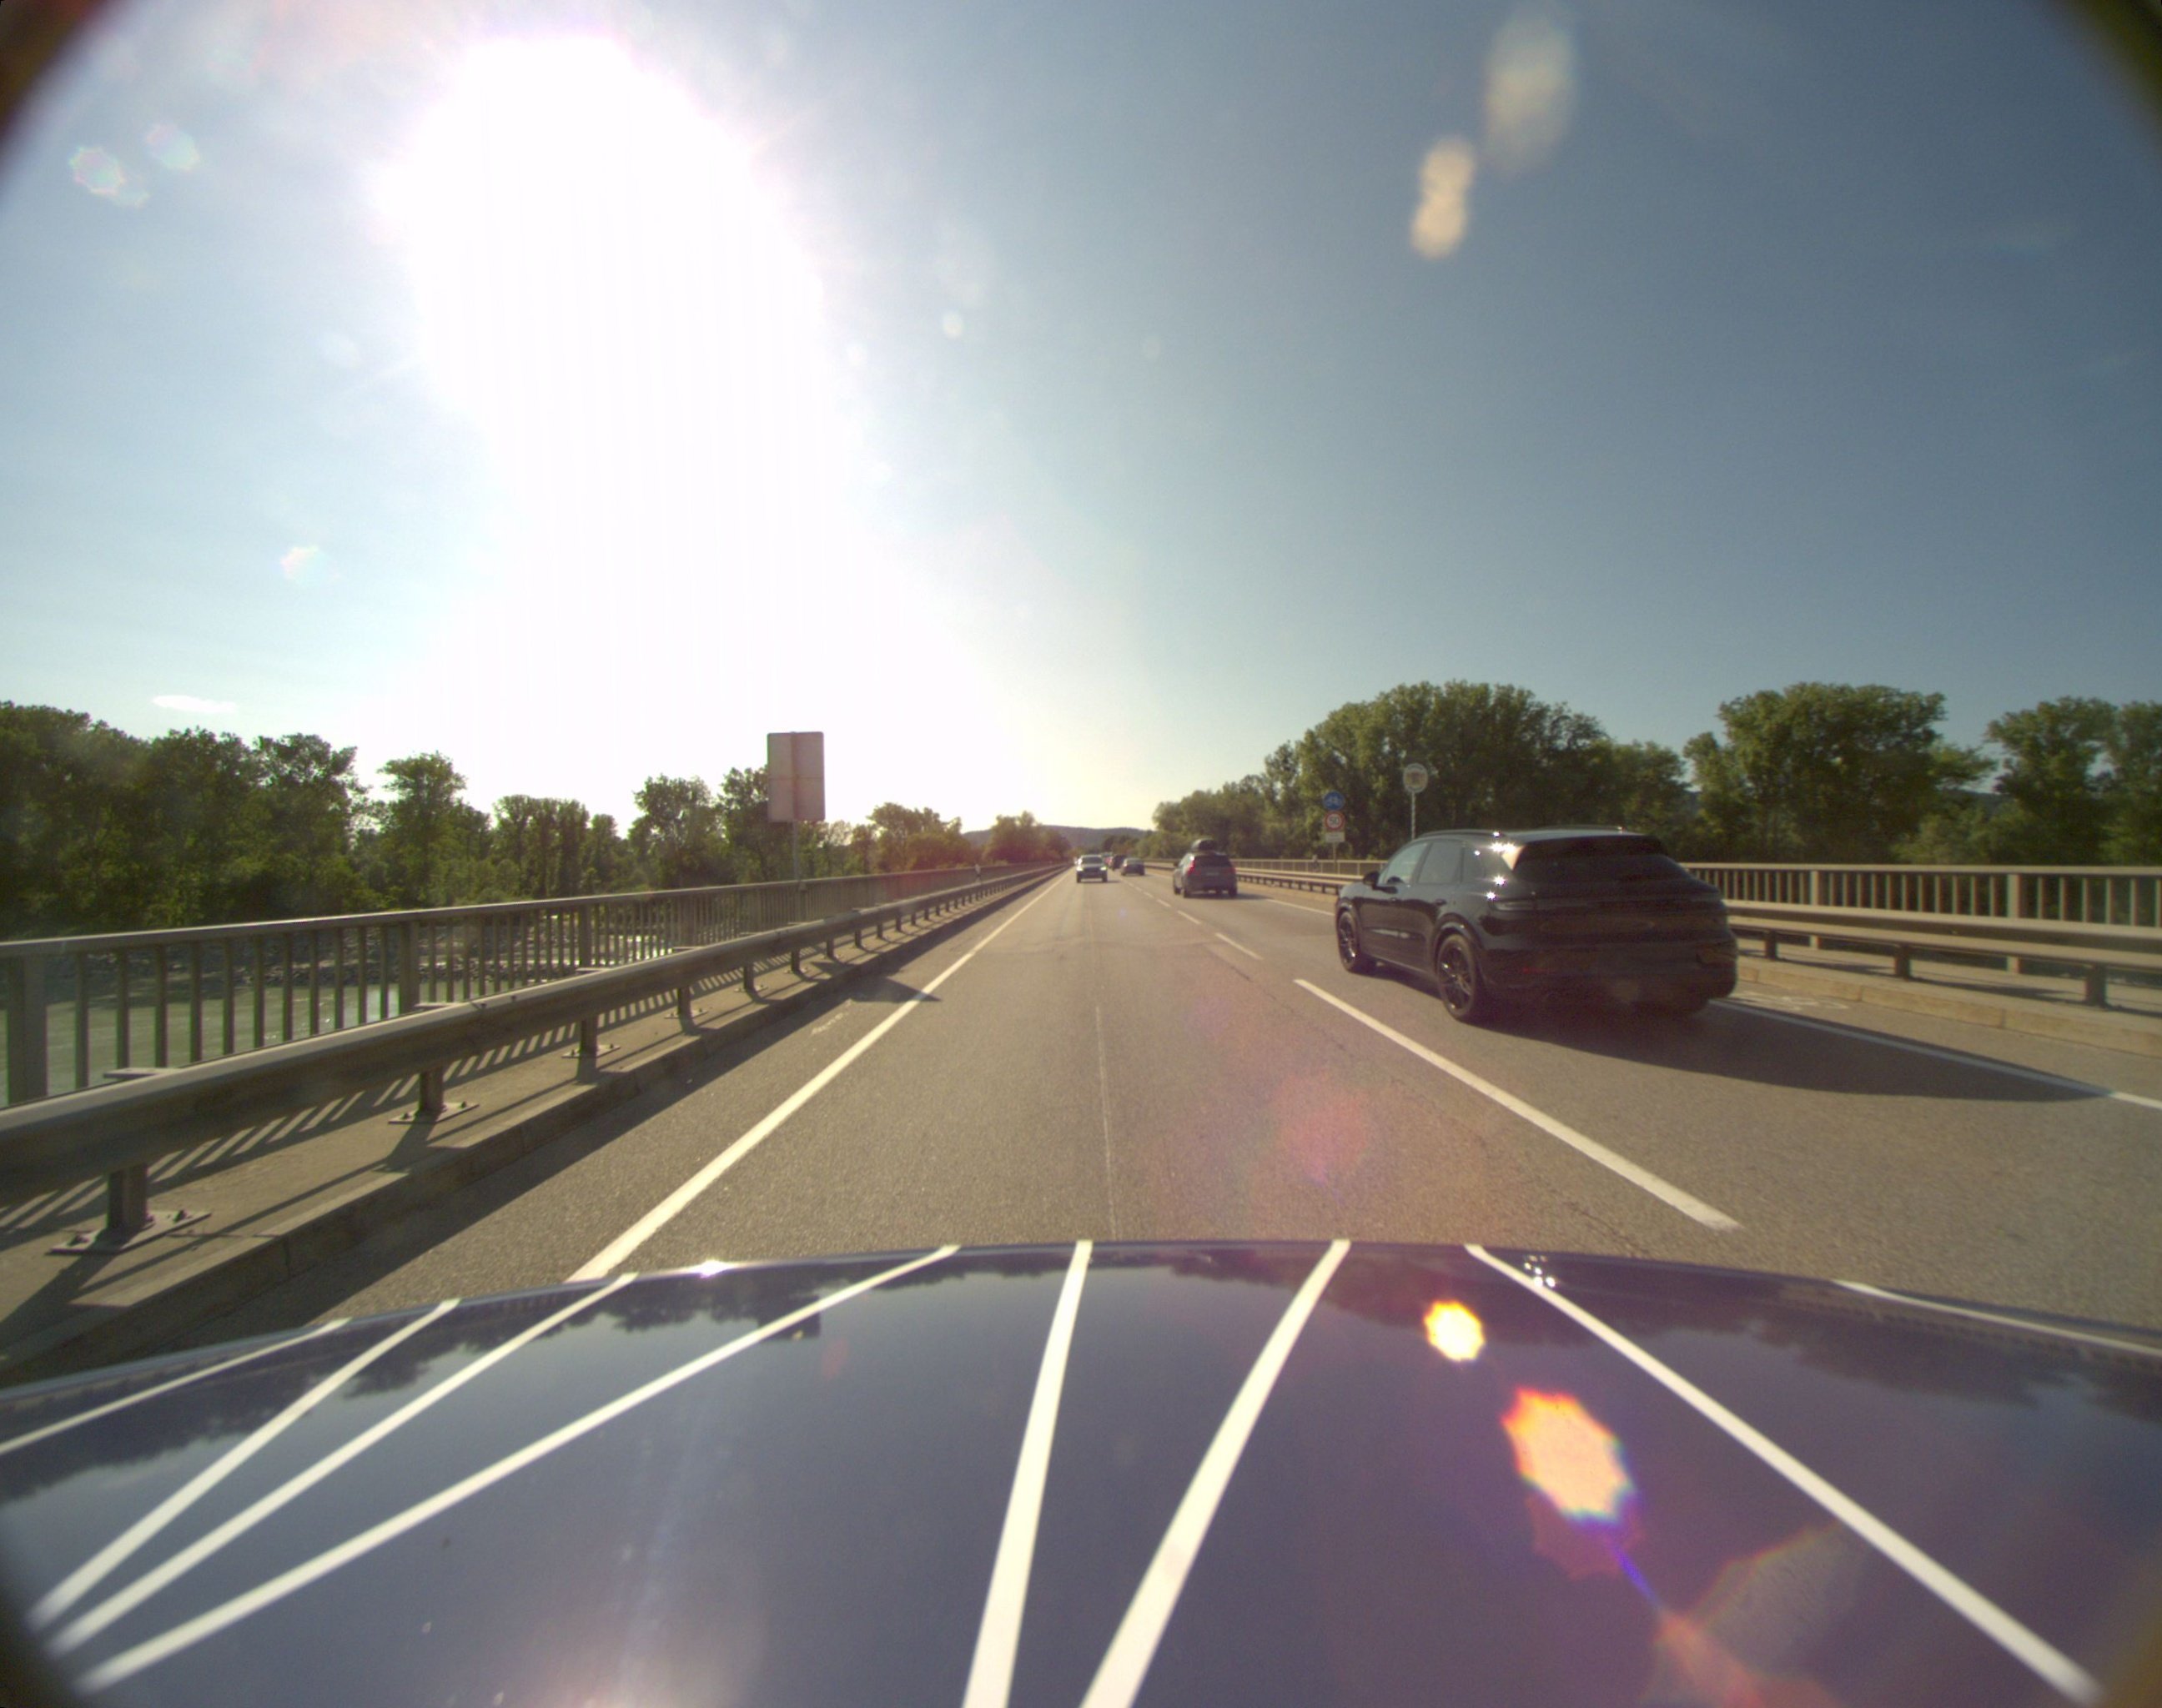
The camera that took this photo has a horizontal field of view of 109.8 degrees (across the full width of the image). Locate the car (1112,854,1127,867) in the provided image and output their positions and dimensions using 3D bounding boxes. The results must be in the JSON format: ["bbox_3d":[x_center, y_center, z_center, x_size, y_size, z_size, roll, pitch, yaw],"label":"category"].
[{"bbox_3d":[5.571,0.962,110.025,1.988,1.641,4.598,-3,-1,1],"label":"car"}]

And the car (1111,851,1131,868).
[{"bbox_3d":[4.742,0.664,89.822,2.042,1.862,5.069,-2,0,0],"label":"car"}]

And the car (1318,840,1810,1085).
[{"bbox_3d":[4.173,0.776,7.778,2.058,1.643,4.721,-3,0,2],"label":"car"}]

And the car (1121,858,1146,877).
[{"bbox_3d":[4.330,1.092,63.320,1.770,1.439,4.456,-2,0,0],"label":"car"}]

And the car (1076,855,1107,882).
[{"bbox_3d":[0.698,0.910,49.215,1.871,1.598,4.380,-1,0,1],"label":"car"}]

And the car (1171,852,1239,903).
[{"bbox_3d":[4.562,0.824,28.524,1.859,1.712,4.566,-1,0,1],"label":"car"}]

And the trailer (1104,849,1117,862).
[{"bbox_3d":[6.339,0.333,161.957,2.561,2.721,8.063,-1,0,2],"label":"trailer"}]
